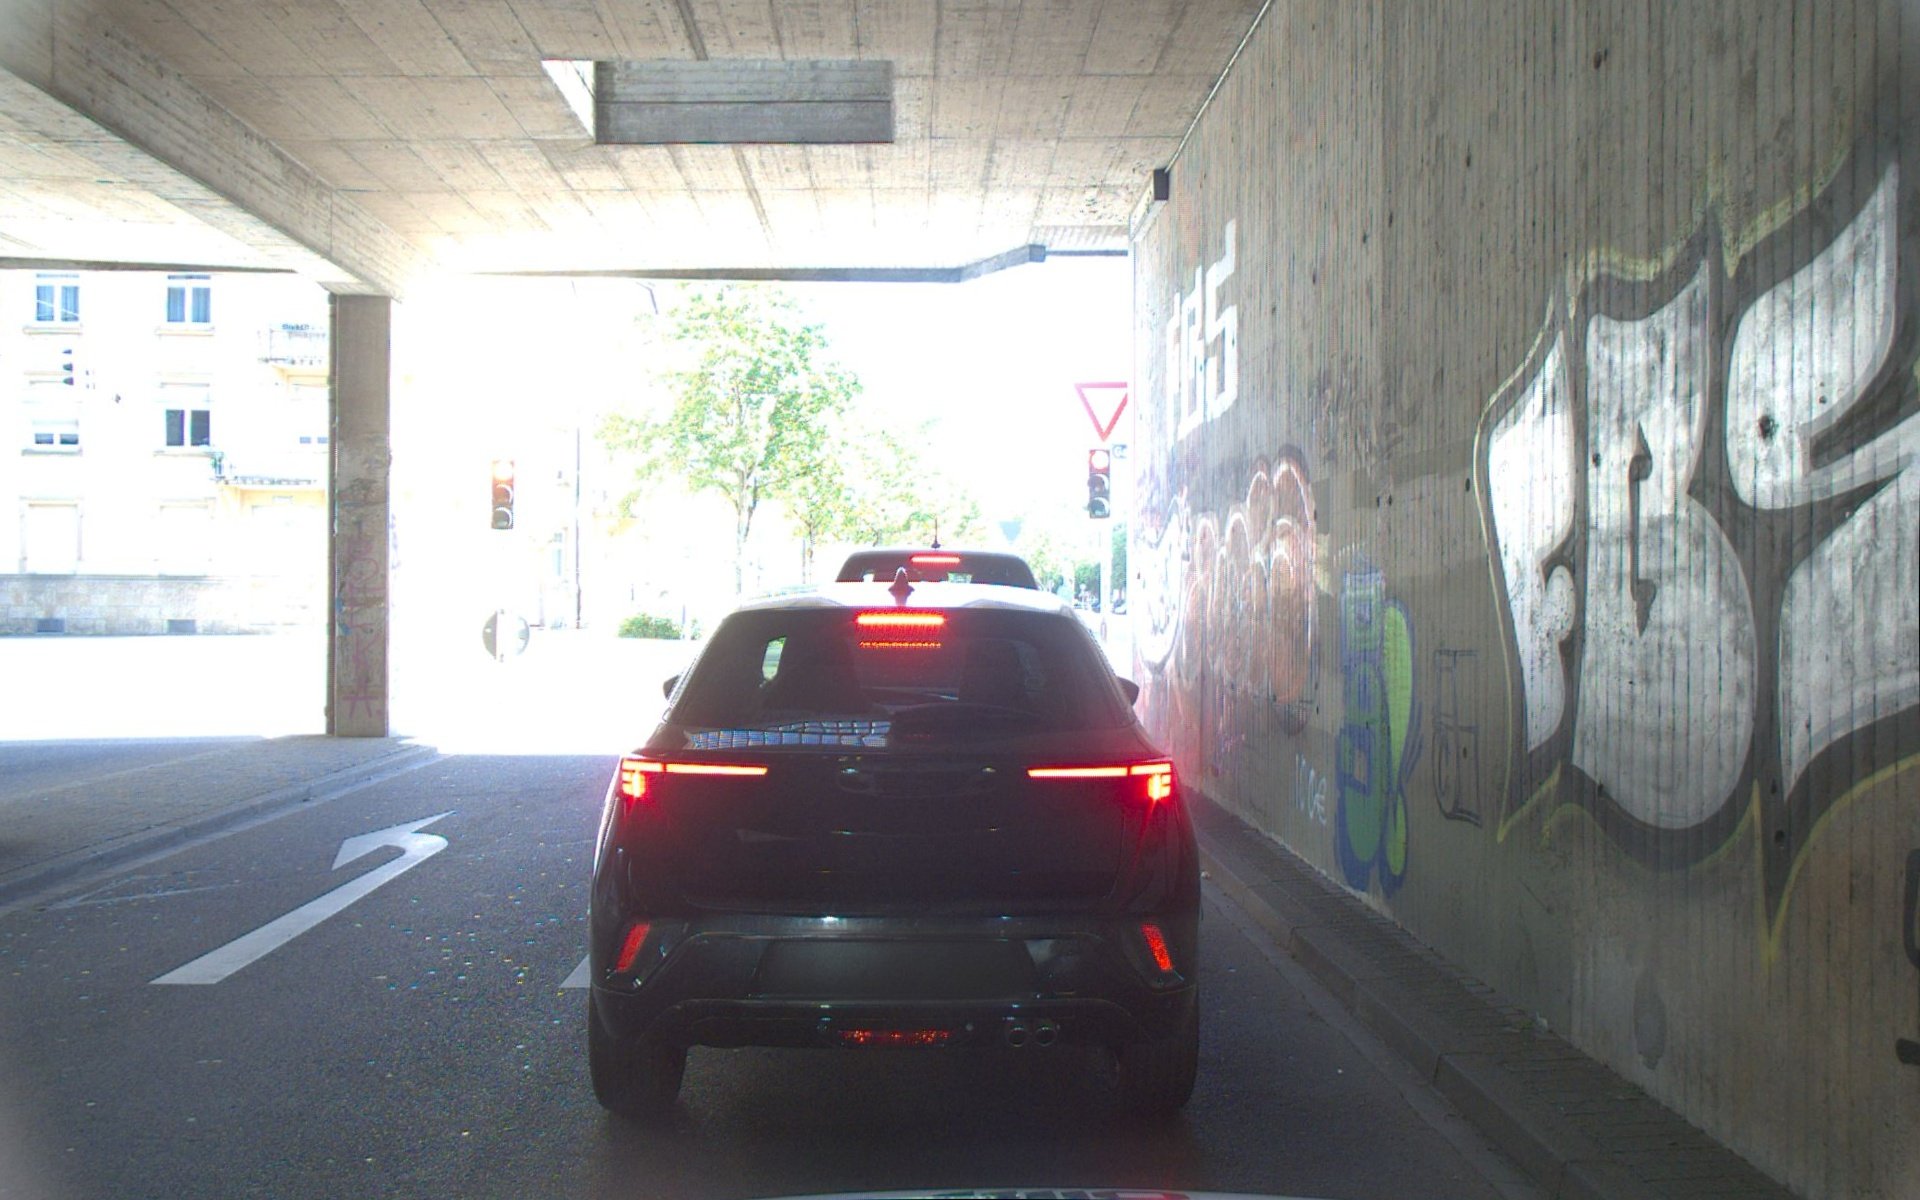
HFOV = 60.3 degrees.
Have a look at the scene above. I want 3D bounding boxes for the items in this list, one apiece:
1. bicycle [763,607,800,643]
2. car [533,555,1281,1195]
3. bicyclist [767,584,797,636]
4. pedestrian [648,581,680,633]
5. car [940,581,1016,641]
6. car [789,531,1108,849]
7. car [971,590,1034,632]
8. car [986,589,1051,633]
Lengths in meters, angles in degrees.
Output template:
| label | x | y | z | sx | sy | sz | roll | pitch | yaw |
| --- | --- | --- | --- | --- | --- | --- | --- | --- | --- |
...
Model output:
| label | x | y | z | sx | sy | sz | roll | pitch | yaw |
| --- | --- | --- | --- | --- | --- | --- | --- | --- | --- |
| bicycle | -5.555 | 0.768 | 51.444 | 0.716 | 1.086 | 1.690 | 1 | 0 | 9 |
| car | -0.155 | 0.667 | 6.081 | 1.844 | 1.565 | 3.963 | 0 | 0 | -1 |
| bicyclist | -5.536 | 0.302 | 51.477 | 0.713 | 1.609 | 0.815 | 1 | -1 | 9 |
| pedestrian | -11.781 | 0.262 | 65.820 | 0.971 | 2.049 | 1.089 | 0 | 0 | 7 |
| car | 0.499 | 0.329 | 44.200 | 1.927 | 1.523 | 3.896 | 0 | -1 | 1 |
| car | -0.095 | 0.528 | 11.906 | 1.906 | 1.892 | 3.963 | 0 | 0 | -1 |
| car | 1.624 | 0.433 | 62.237 | 1.926 | 1.523 | 3.899 | 0 | -1 | 8 |
| car | 2.470 | 0.475 | 69.059 | 2.173 | 1.749 | 4.463 | 0 | -1 | 9 |
